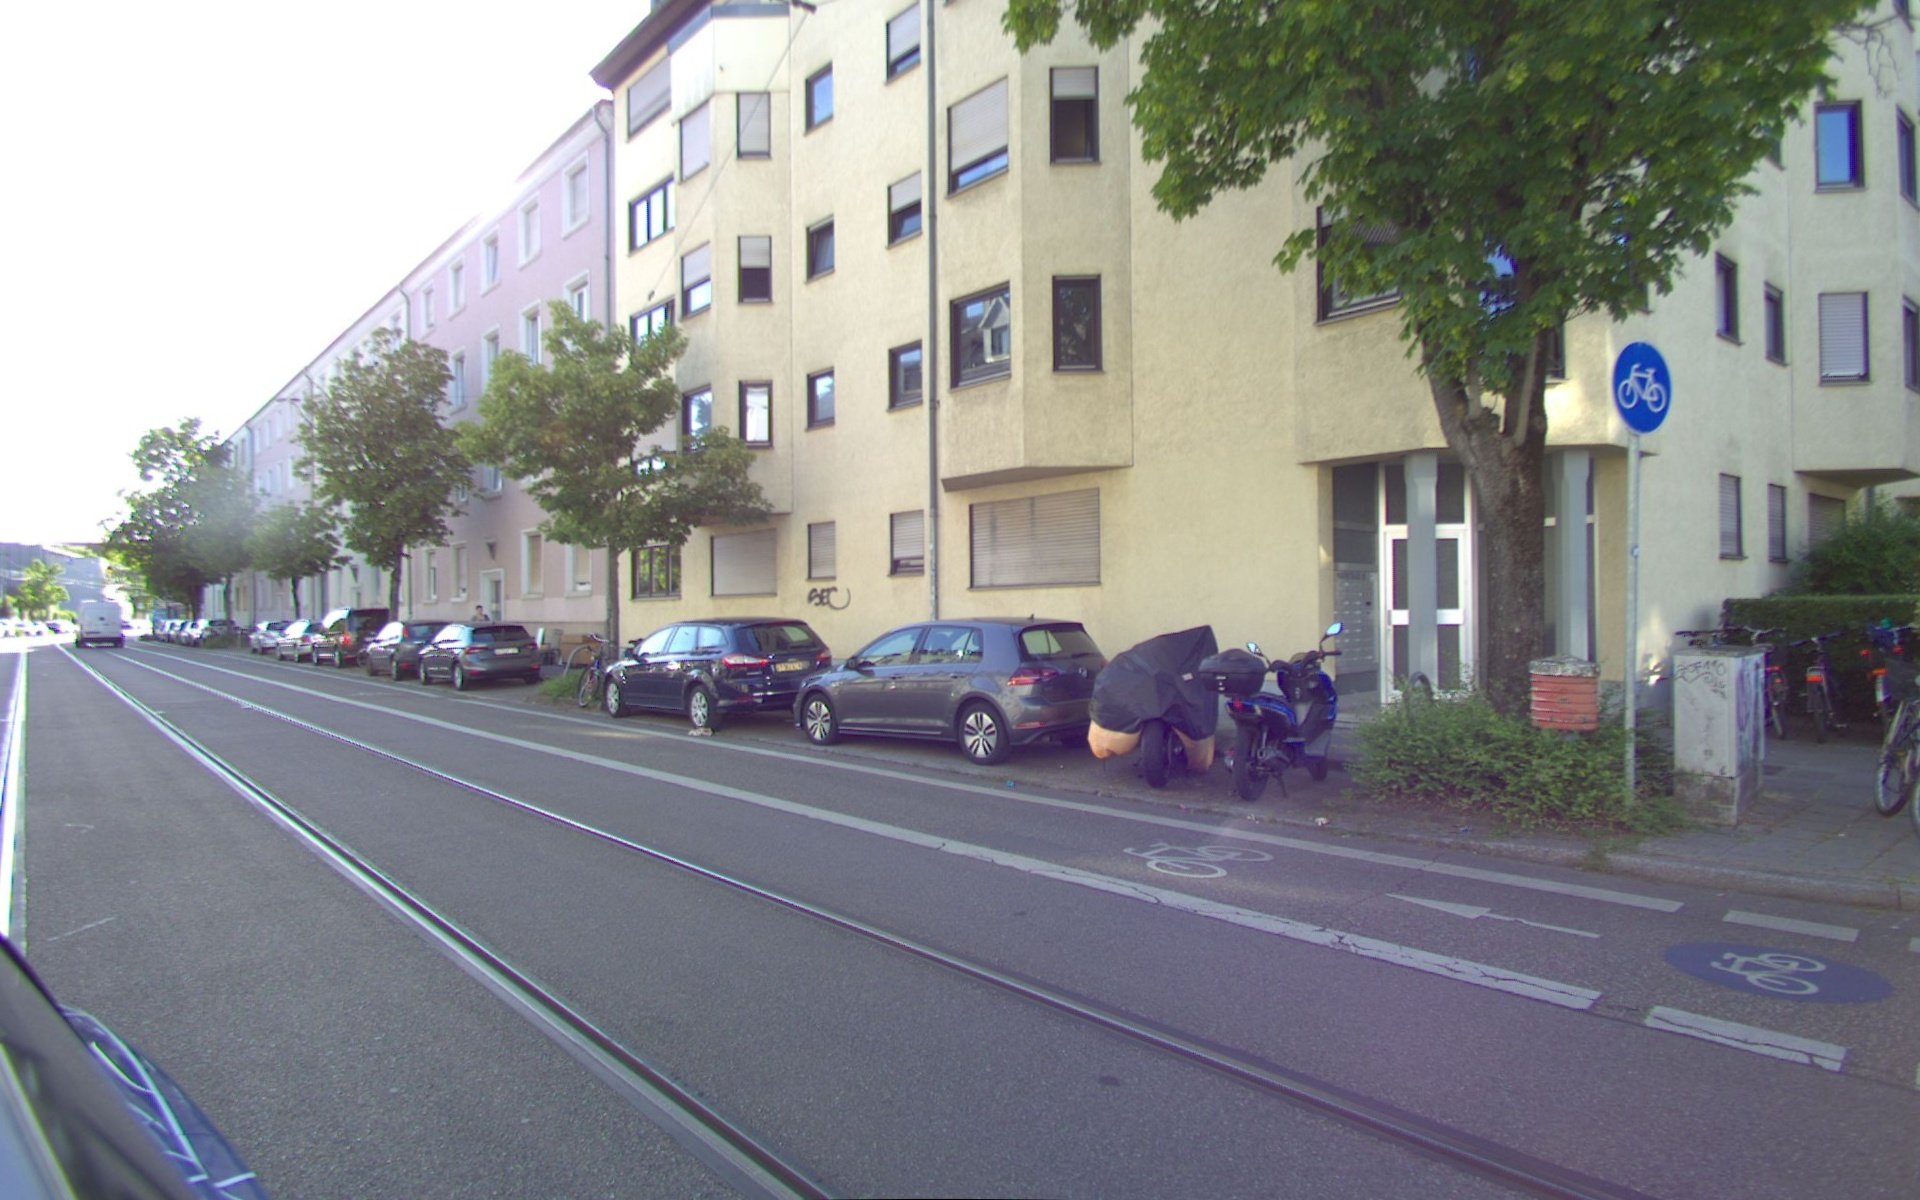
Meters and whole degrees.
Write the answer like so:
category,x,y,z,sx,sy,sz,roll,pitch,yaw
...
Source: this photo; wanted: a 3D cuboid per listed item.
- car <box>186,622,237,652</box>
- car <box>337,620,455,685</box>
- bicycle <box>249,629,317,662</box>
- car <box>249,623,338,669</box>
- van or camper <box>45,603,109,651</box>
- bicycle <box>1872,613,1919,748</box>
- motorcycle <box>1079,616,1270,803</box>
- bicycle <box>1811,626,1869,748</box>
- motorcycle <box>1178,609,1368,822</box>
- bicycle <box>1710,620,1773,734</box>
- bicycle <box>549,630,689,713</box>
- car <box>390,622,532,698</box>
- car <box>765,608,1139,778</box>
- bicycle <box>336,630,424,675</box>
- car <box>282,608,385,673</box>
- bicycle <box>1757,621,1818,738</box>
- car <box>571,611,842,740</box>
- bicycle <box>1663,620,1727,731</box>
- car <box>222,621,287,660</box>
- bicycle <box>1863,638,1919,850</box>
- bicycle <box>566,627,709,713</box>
category,x,y,z,sx,sy,sz,roll,pitch,yaw
car,-42.060,2.061,56.835,4.049,1.635,1.665,-2,-1,44
car,-14.919,1.321,26.671,1.744,1.484,4.185,-3,1,-42
bicycle,-26.674,1.776,39.925,0.660,1.151,2.120,-2,0,43
car,-23.688,1.576,35.881,1.744,1.484,4.862,-1,-1,-44
van or camper,-50.478,1.547,57.801,2.342,2.572,6.838,0,-1,-45
bicycle,8.880,0.719,9.550,0.332,1.152,1.373,-2,0,44
motorcycle,1.952,0.881,9.021,0.835,1.458,1.948,-2,-1,40
bicycle,8.552,0.806,9.822,0.332,1.054,1.373,-2,0,44
motorcycle,2.510,0.810,7.965,0.720,1.458,1.948,-2,-1,40
bicycle,8.105,0.766,10.481,0.332,1.054,1.373,-2,0,44
bicycle,-6.007,1.228,17.953,2.265,1.344,0.700,0,-1,-43
car,-11.459,1.306,23.132,1.745,1.484,4.045,-3,1,-43
car,-0.237,0.900,11.335,4.128,1.554,1.717,-2,-1,43
bicycle,-17.044,1.523,29.797,0.747,1.113,2.087,-2,1,45
car,-20.044,1.258,32.309,4.425,1.859,1.745,-2,1,45
bicycle,8.324,0.763,10.167,0.332,1.054,1.373,-2,0,44
car,-3.839,0.975,14.715,1.744,1.554,4.738,0,-1,-43
bicycle,7.791,0.771,10.713,0.332,1.054,1.373,-2,0,44
car,-29.904,1.677,42.869,1.743,1.484,4.759,-1,-1,-41
bicycle,5.872,0.792,5.957,1.783,1.093,0.596,0,-1,-41
bicycle,-5.511,1.163,17.415,2.265,1.344,0.700,0,-1,-43
